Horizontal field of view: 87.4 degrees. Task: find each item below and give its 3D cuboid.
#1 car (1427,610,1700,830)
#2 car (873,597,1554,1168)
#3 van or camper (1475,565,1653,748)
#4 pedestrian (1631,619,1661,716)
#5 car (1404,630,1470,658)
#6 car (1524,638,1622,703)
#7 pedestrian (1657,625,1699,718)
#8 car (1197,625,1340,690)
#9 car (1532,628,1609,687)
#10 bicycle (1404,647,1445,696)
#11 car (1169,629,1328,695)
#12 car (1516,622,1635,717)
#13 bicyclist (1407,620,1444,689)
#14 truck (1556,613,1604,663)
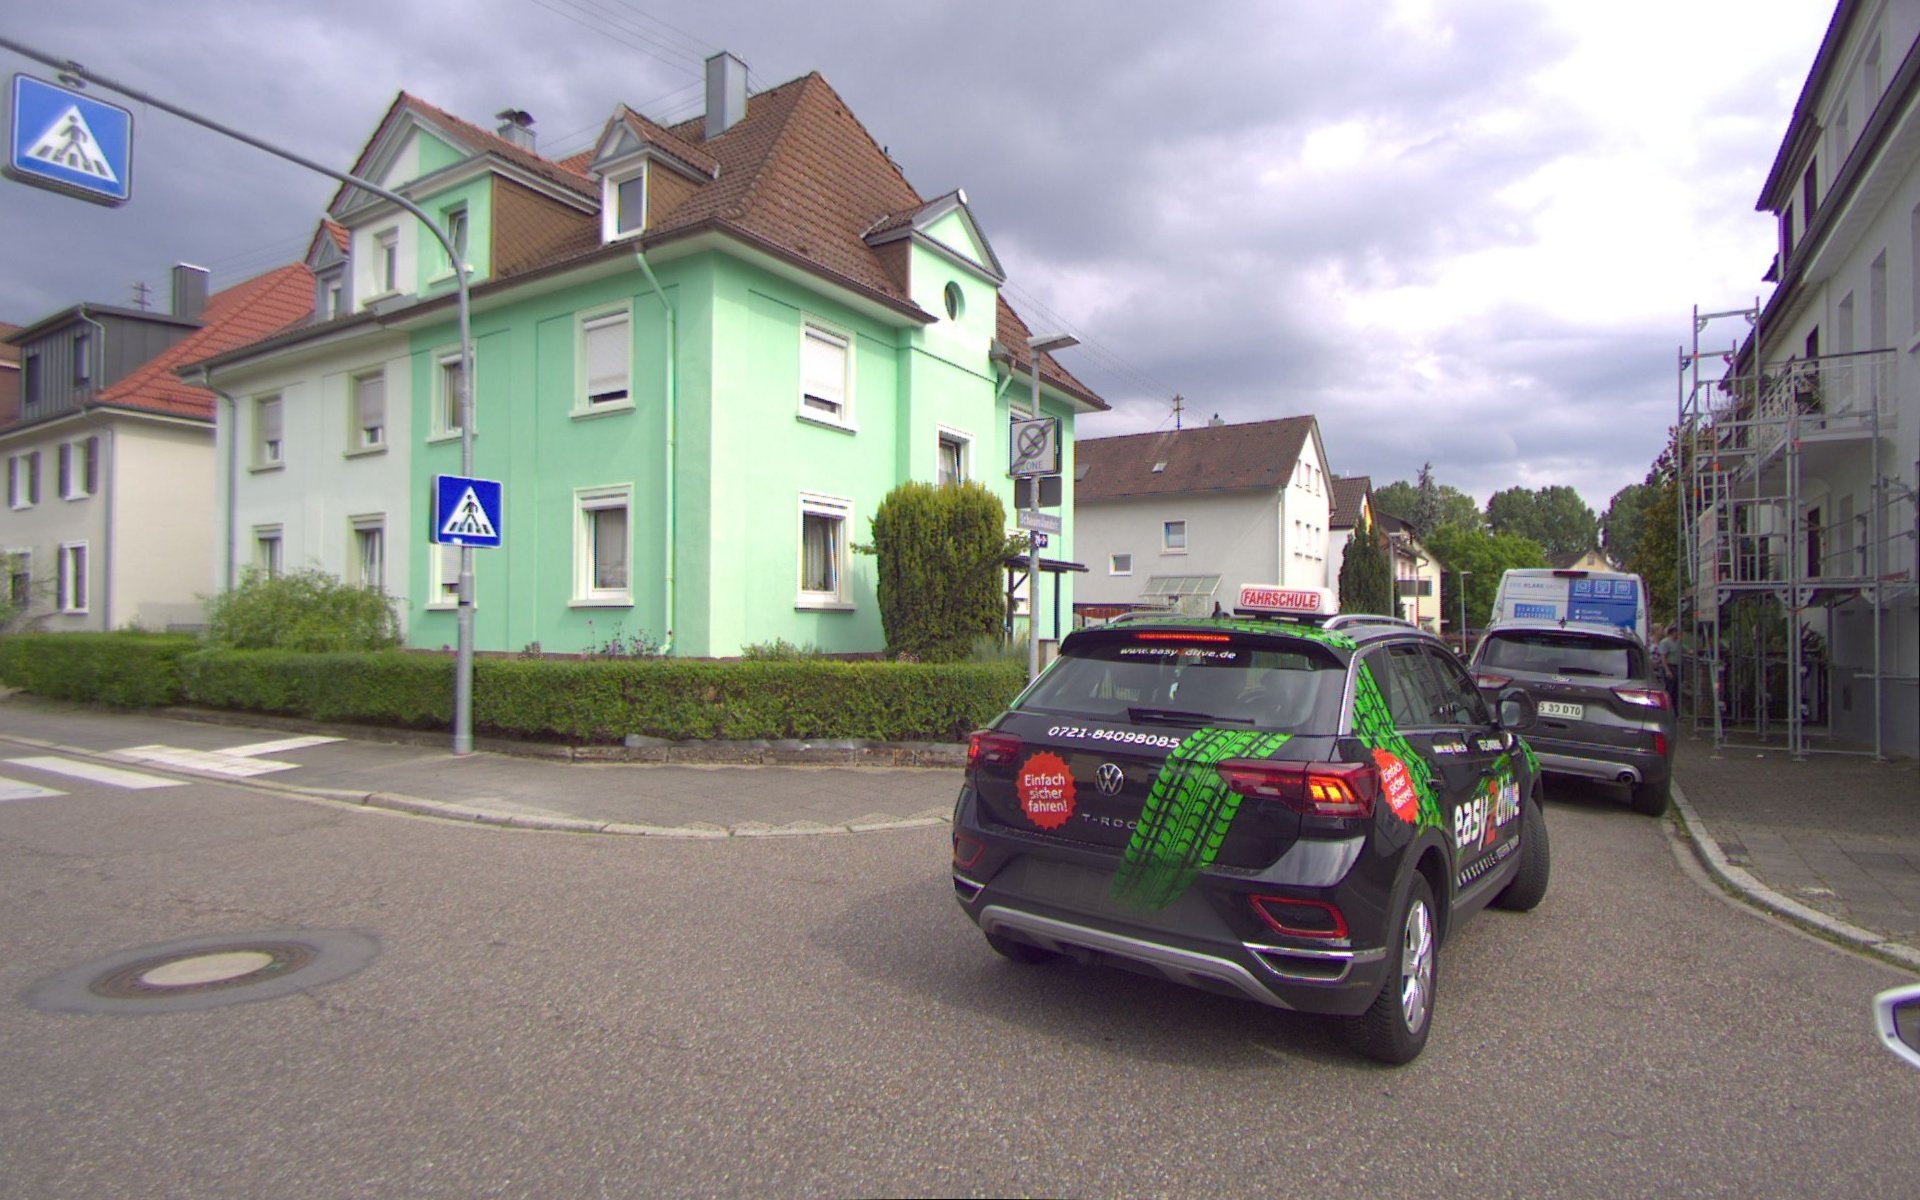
[{"bbox_3d":[6.090,1.018,10.371,1.964,1.749,4.334,-1,-2,29],"label":"car"},{"bbox_3d":[1.603,0.849,4.890,1.793,1.540,4.028,0,-2,37],"label":"car"},{"bbox_3d":[9.867,0.845,16.485,2.161,2.491,5.043,-1,-2,31],"label":"van or camper"},{"bbox_3d":[12.910,1.266,18.912,0.401,1.785,0.512,0,-3,29],"label":"pedestrian"},{"bbox_3d":[32.035,2.943,67.460,3.927,1.795,1.868,0,-3,28],"label":"car"},{"bbox_3d":[15.618,1.729,25.775,1.964,1.474,4.334,-1,-2,29],"label":"car"},{"bbox_3d":[13.057,1.286,18.282,0.593,1.650,0.623,-1,-3,36],"label":"pedestrian"},{"bbox_3d":[8.435,1.529,27.490,3.517,1.689,1.585,-1,-2,29],"label":"car"},{"bbox_3d":[19.630,1.785,32.465,1.964,1.772,4.334,-1,-2,29],"label":"car"},{"bbox_3d":[11.729,1.782,25.318,0.695,1.167,1.869,-2,-2,32],"label":"bicycle"},{"bbox_3d":[7.130,1.500,24.866,3.517,1.520,1.585,-1,-2,29],"label":"car"},{"bbox_3d":[13.022,1.380,21.450,1.964,1.795,4.334,-1,-2,29],"label":"car"},{"bbox_3d":[11.801,1.373,25.443,0.687,1.688,0.973,-2,-3,32],"label":"bicyclist"},{"bbox_3d":[34.472,2.091,55.932,2.099,2.692,4.576,-1,-2,30],"label":"truck"}]
